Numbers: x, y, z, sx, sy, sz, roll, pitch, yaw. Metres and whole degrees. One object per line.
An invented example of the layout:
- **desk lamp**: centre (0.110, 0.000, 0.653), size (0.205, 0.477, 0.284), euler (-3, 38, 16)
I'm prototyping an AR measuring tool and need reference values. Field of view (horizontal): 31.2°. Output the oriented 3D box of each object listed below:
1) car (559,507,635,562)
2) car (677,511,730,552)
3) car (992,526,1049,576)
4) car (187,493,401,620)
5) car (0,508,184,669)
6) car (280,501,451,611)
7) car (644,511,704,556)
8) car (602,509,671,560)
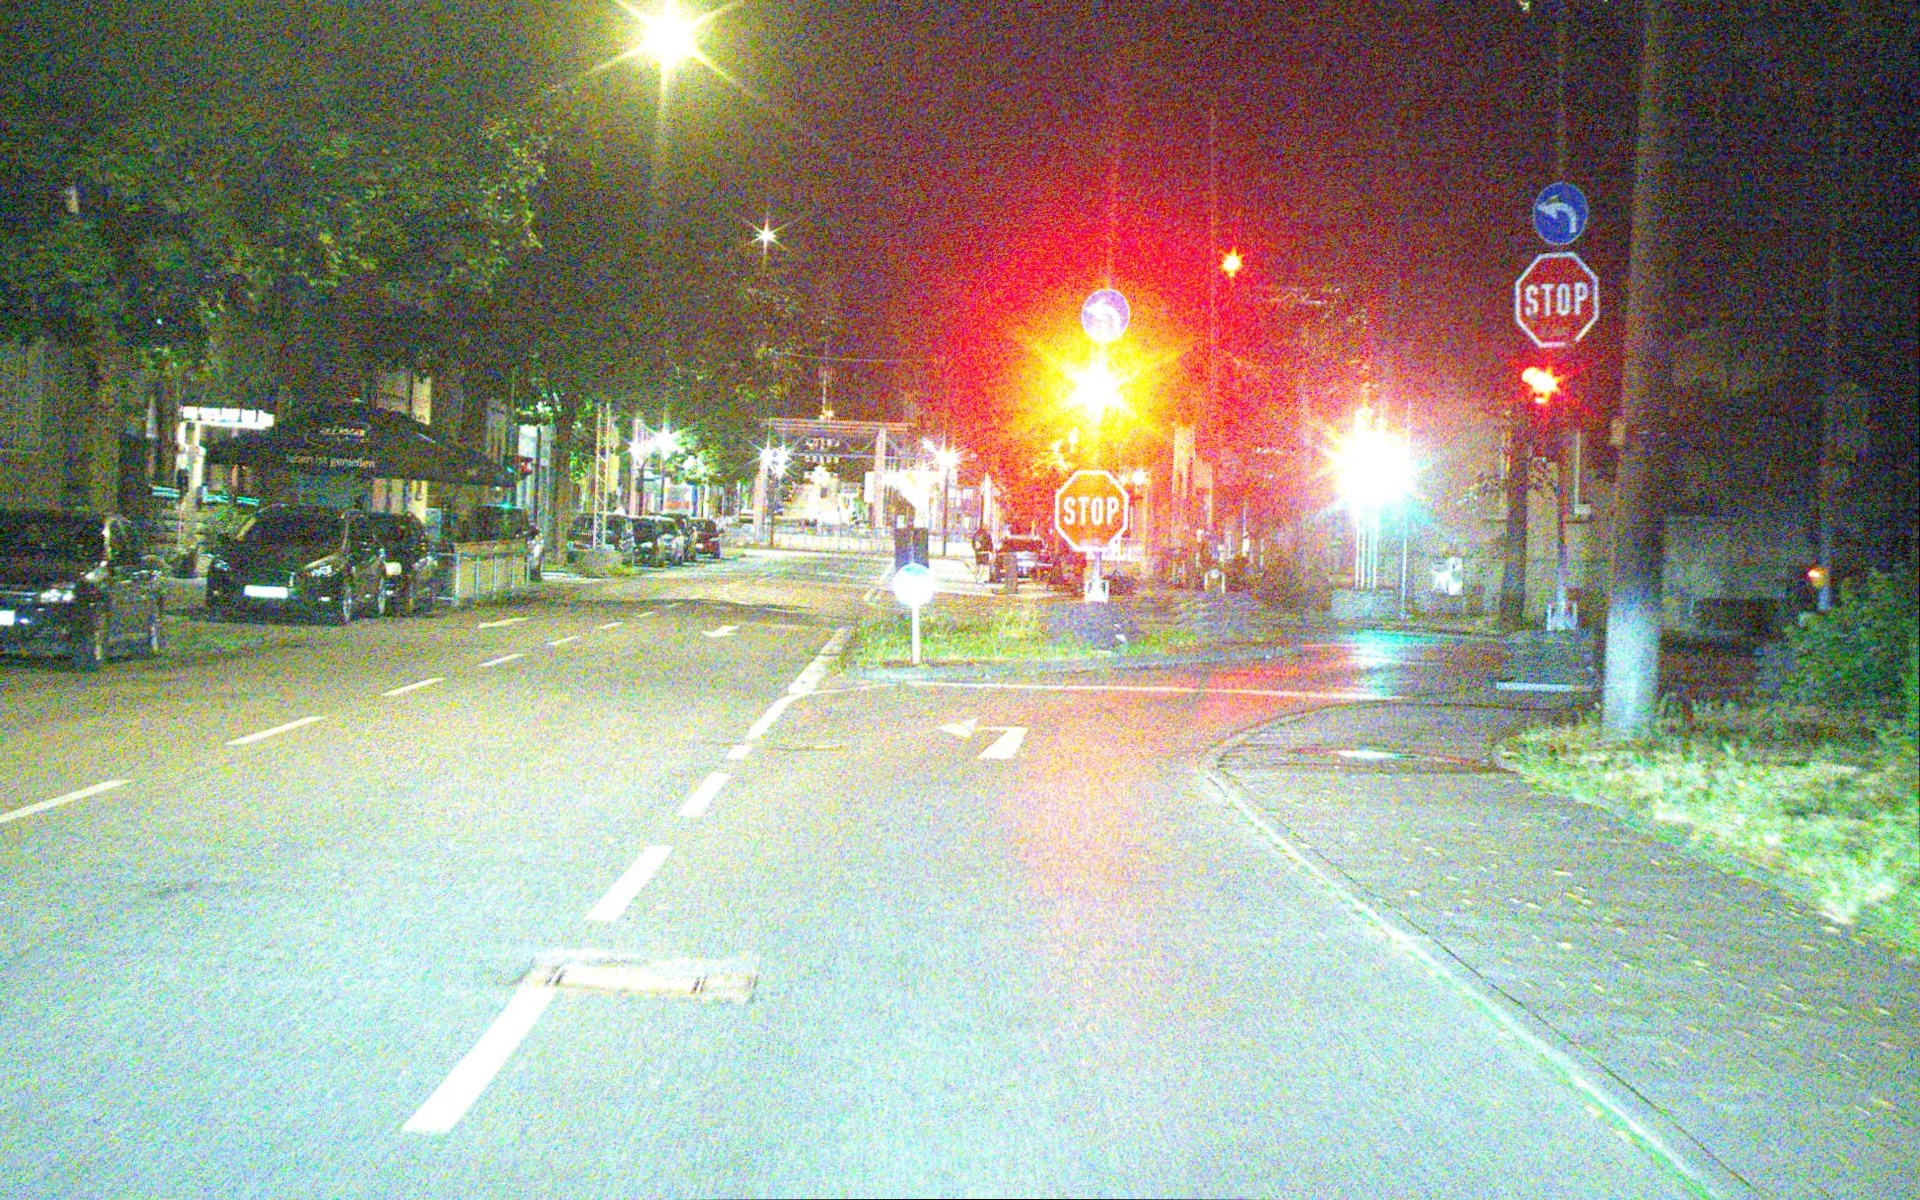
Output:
- **car**: centre (-9.788, -1.771, 92.956), size (1.651, 1.426, 4.000), euler (2, 1, -1)
- **car**: centre (-9.505, -2.549, 127.630), size (1.651, 1.426, 4.000), euler (2, 1, -1)
- **car**: centre (1.808, -1.482, 103.604), size (1.651, 1.426, 4.000), euler (2, 1, 1)
- **car**: centre (-8.717, -0.607, 45.325), size (1.899, 1.466, 4.452), euler (4, 2, 0)
- **car**: centre (-8.474, -0.153, 32.172), size (1.622, 1.378, 4.453), euler (2, 1, -3)
- **car**: centre (-8.651, -0.659, 50.321), size (1.803, 1.476, 4.323), euler (2, 1, -1)
- **car**: centre (-9.451, -2.203, 113.897), size (1.651, 1.426, 4.000), euler (2, 1, -1)
- **car**: centre (-9.474, -1.923, 101.001), size (1.651, 1.426, 4.000), euler (2, 1, -1)
